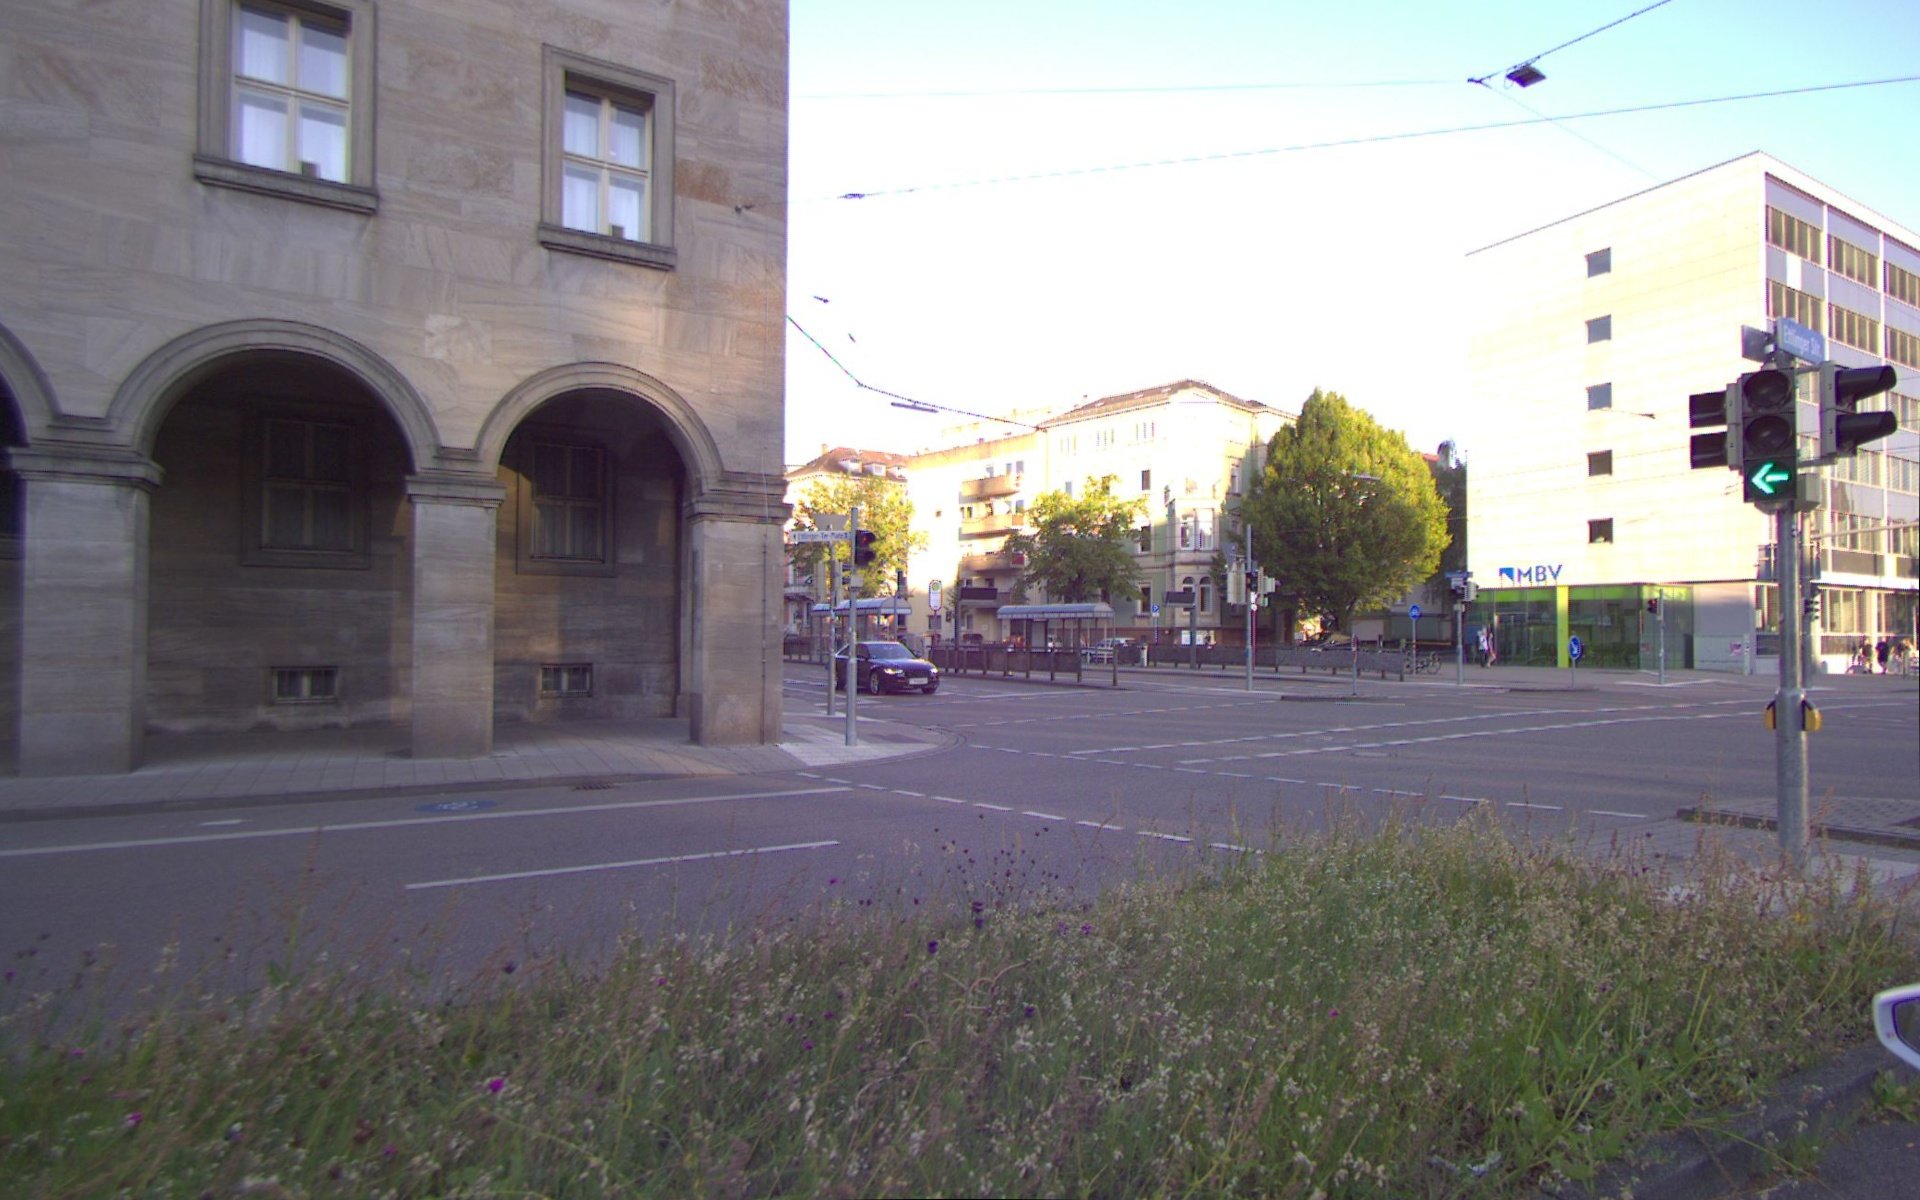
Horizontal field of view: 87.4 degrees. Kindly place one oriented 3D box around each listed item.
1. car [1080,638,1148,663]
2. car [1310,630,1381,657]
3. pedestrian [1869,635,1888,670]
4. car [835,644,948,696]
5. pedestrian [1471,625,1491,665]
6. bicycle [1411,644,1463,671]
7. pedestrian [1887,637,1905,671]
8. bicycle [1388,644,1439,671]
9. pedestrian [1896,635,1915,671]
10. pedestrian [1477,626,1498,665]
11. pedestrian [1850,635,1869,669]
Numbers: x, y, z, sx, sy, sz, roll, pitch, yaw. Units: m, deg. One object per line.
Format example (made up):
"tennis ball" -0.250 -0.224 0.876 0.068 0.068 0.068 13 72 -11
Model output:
"car" 8.913 2.899 58.434 3.545 1.390 1.831 -2 -3 44
"car" 20.920 2.344 54.445 3.553 1.390 1.826 1 -2 -32
"pedestrian" 45.675 2.613 49.940 0.494 1.701 0.549 1 -2 -30
"car" -2.053 1.972 29.028 1.791 1.344 4.120 1 -2 -27
"pedestrian" 24.185 2.085 46.629 0.718 1.813 0.634 2 -2 -44
"bicycle" 20.410 2.457 42.958 2.183 1.127 0.834 1 -2 -26
"pedestrian" 46.034 2.651 49.401 0.494 1.701 0.498 1 -2 -30
"bicycle" 19.737 2.481 43.729 2.183 1.127 0.834 1 -2 -26
"pedestrian" 45.825 2.569 48.680 0.494 1.701 0.549 1 -2 -30
"pedestrian" 24.801 2.125 47.224 0.718 1.813 0.634 2 -2 -43
"pedestrian" 44.819 2.586 50.039 0.494 1.701 0.549 1 -2 -30
